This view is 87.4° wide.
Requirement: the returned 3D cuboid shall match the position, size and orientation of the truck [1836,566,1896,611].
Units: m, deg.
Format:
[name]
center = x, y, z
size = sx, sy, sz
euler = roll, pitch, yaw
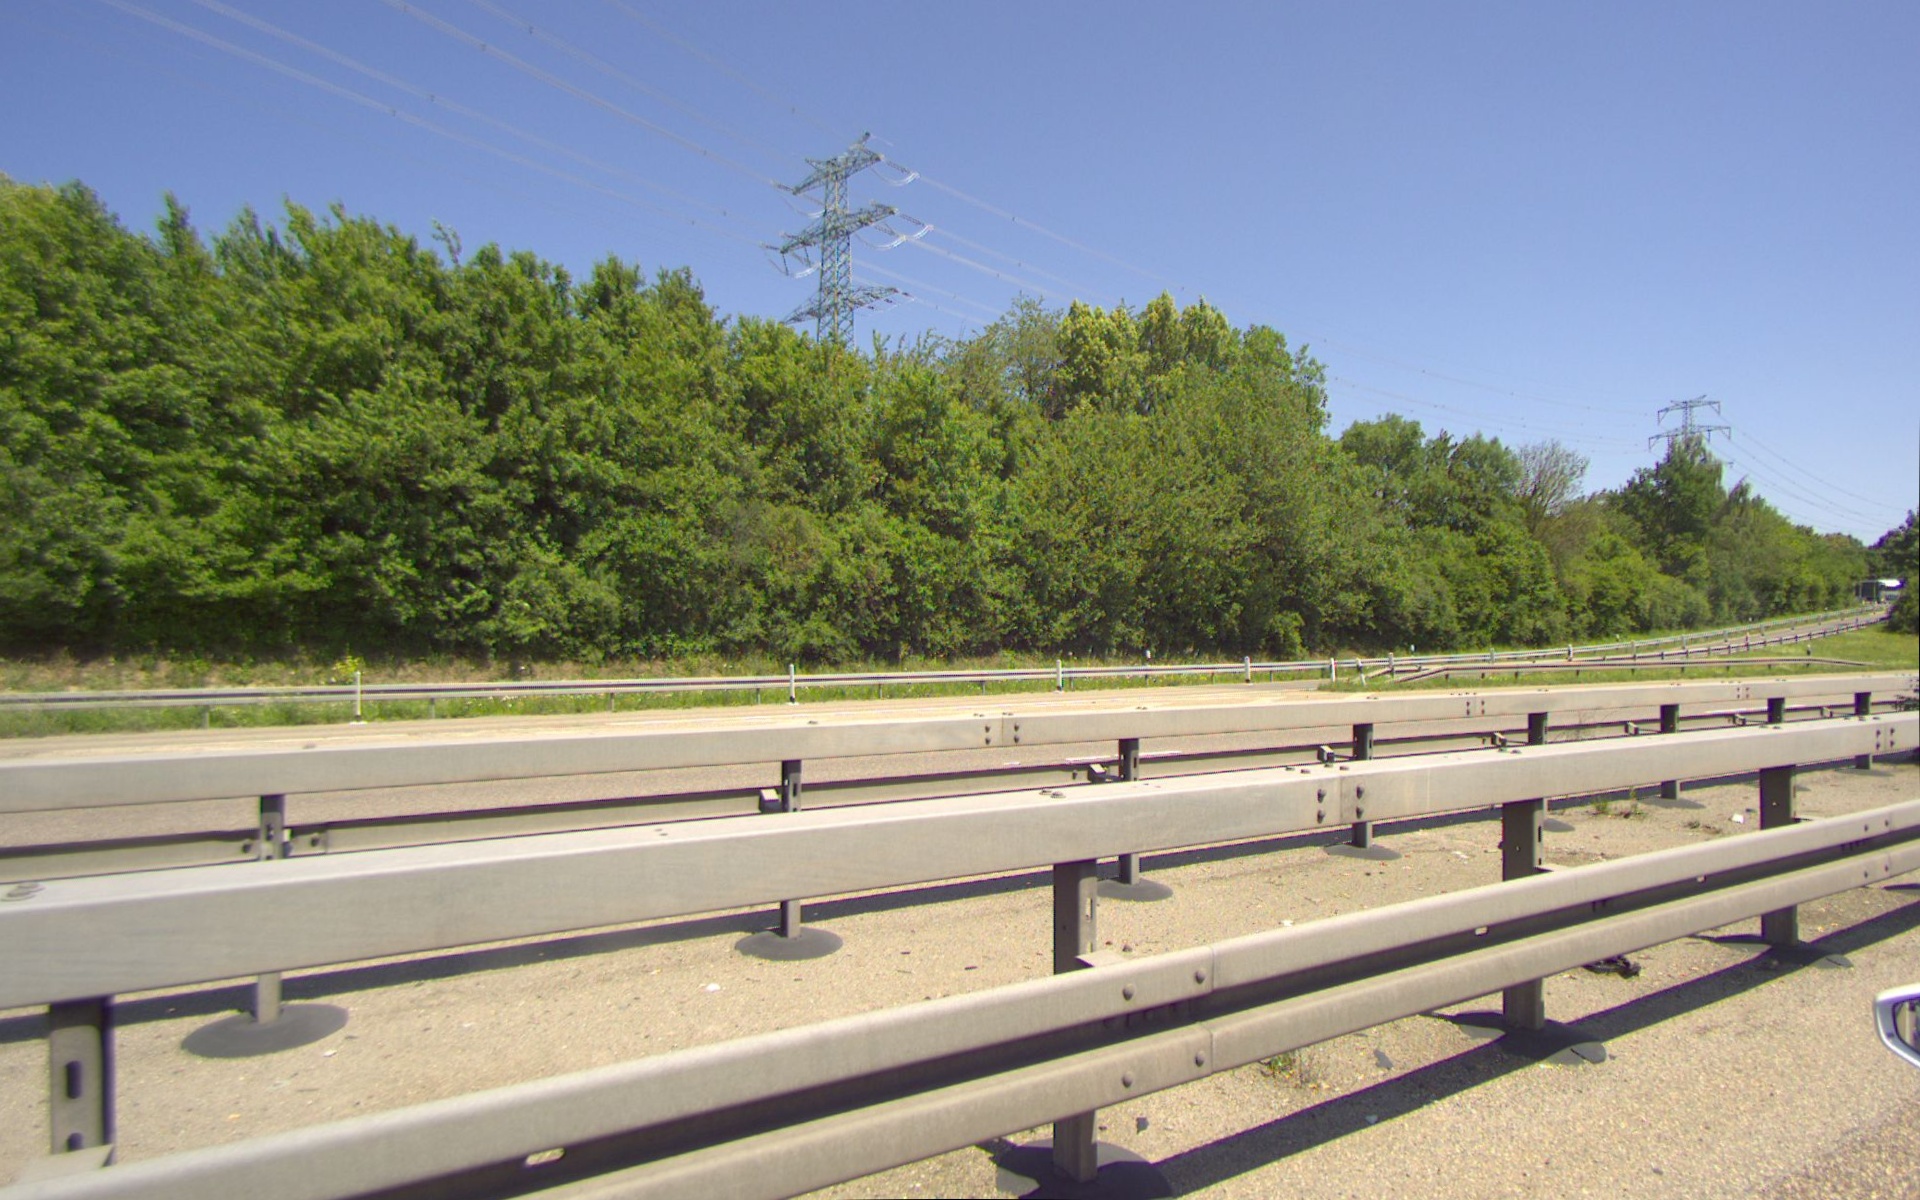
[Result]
[truck]
center = 155.428, -1.844, 172.531
size = 4.603, 7.324, 13.616
euler = 2, 0, 30
